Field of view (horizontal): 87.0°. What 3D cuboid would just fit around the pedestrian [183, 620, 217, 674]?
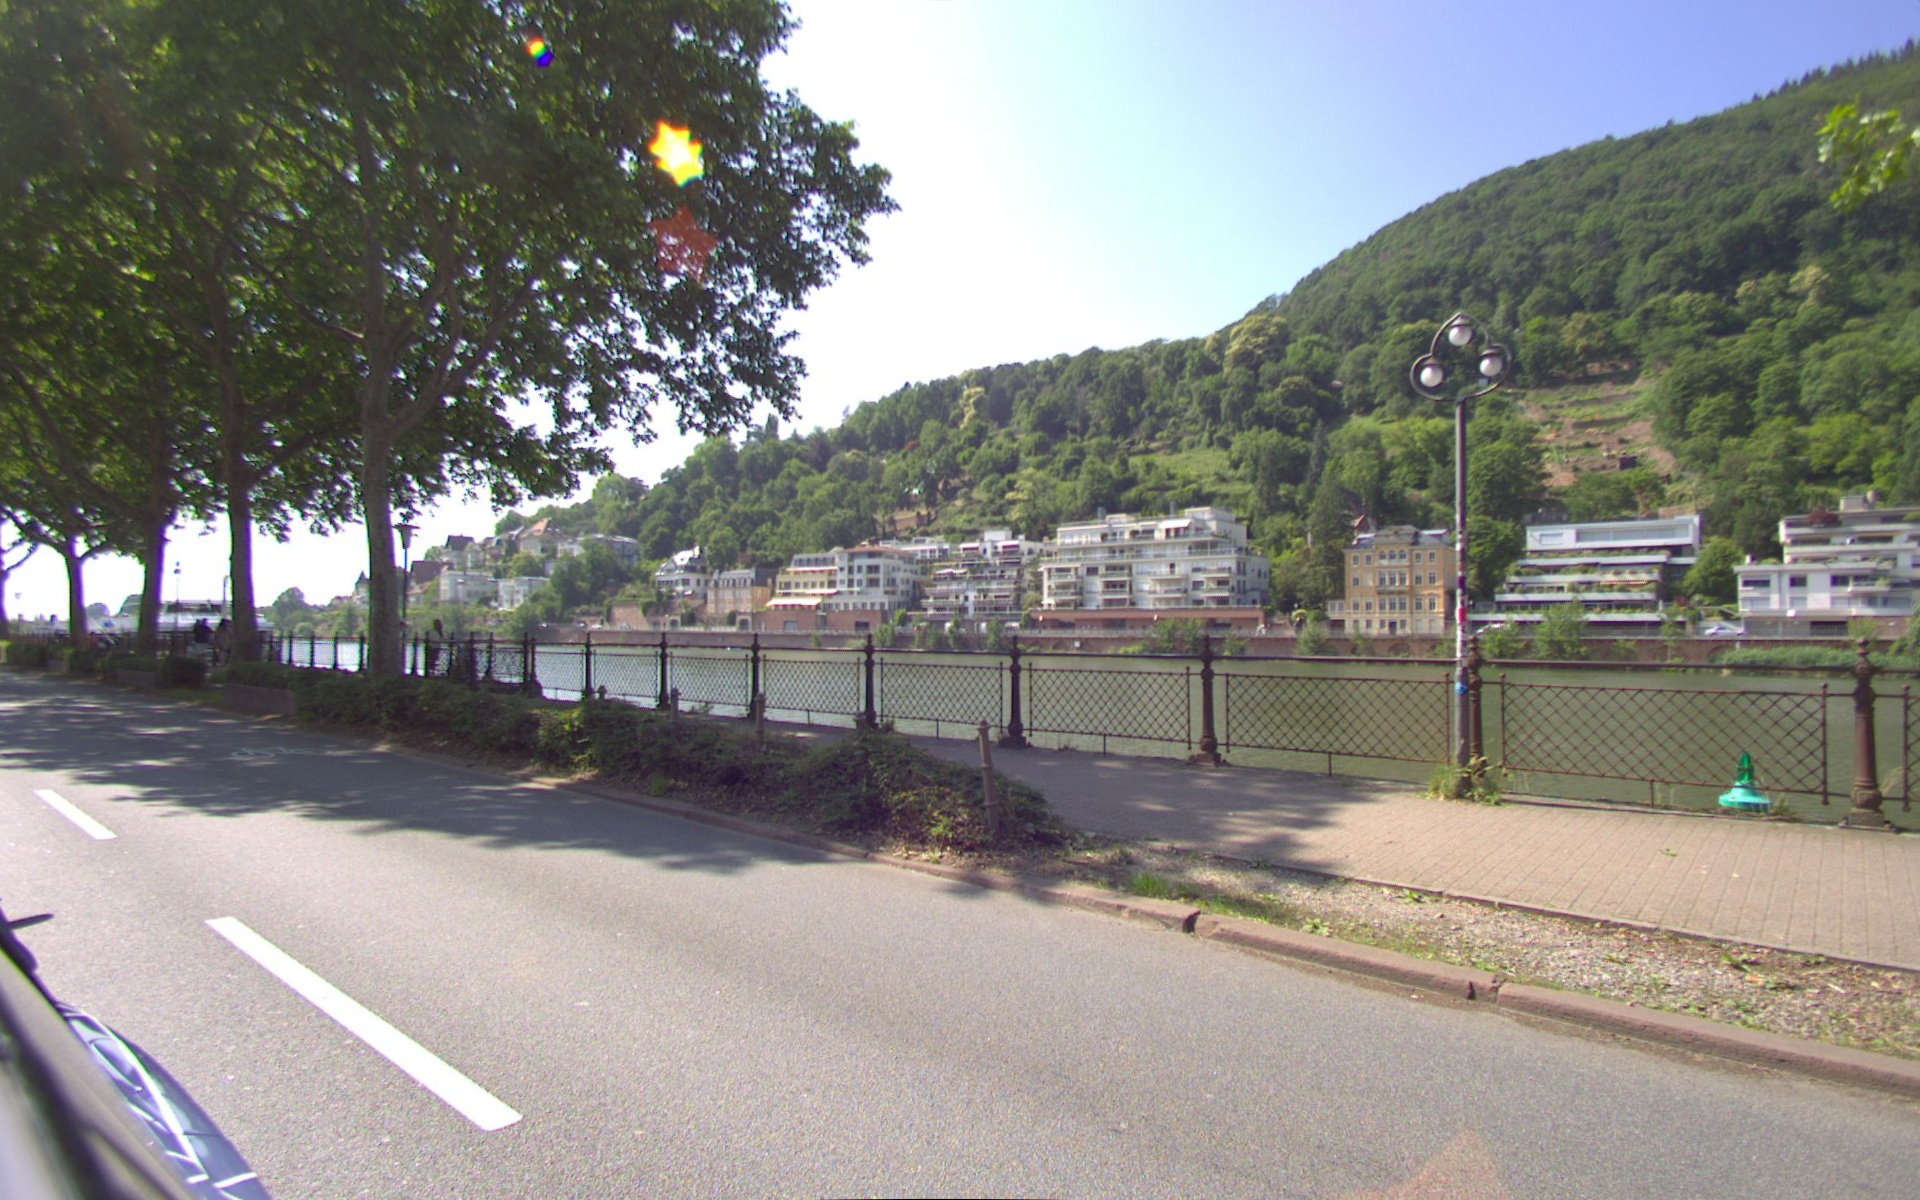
[{"bbox_3d":[-26.942,1.649,35.878,0.928,1.863,0.796,-1,0,41],"label":"pedestrian"}]

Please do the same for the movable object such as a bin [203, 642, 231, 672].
[{"bbox_3d":[-27.091,2.065,36.905,0.783,1.057,0.694,-1,0,44],"label":"movable object such as a bin"}]

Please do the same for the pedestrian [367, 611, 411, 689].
[{"bbox_3d":[-14.319,1.255,25.384,0.756,1.915,0.771,3,-4,-42],"label":"pedestrian"}]

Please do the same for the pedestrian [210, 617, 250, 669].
[{"bbox_3d":[-29.184,1.708,40.463,1.032,2.029,1.038,-1,0,-19],"label":"pedestrian"}]

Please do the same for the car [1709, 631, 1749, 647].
[{"bbox_3d":[100.279,5.075,132.016,3.998,2.029,1.973,-1,0,41],"label":"car"}]

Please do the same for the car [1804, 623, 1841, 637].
[{"bbox_3d":[125.704,4.362,147.556,3.998,2.029,1.973,-3,-1,41],"label":"car"}]

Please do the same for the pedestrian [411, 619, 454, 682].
[{"bbox_3d":[-15.053,1.447,28.879,0.829,1.771,0.767,-2,-4,40],"label":"pedestrian"}]

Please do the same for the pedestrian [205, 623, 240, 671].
[{"bbox_3d":[-26.465,1.672,36.303,0.885,1.647,1.060,0,0,-44],"label":"pedestrian"}]

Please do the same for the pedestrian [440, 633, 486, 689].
[{"bbox_3d":[-12.650,1.544,25.761,0.770,1.398,0.758,-2,-3,40],"label":"pedestrian"}]
